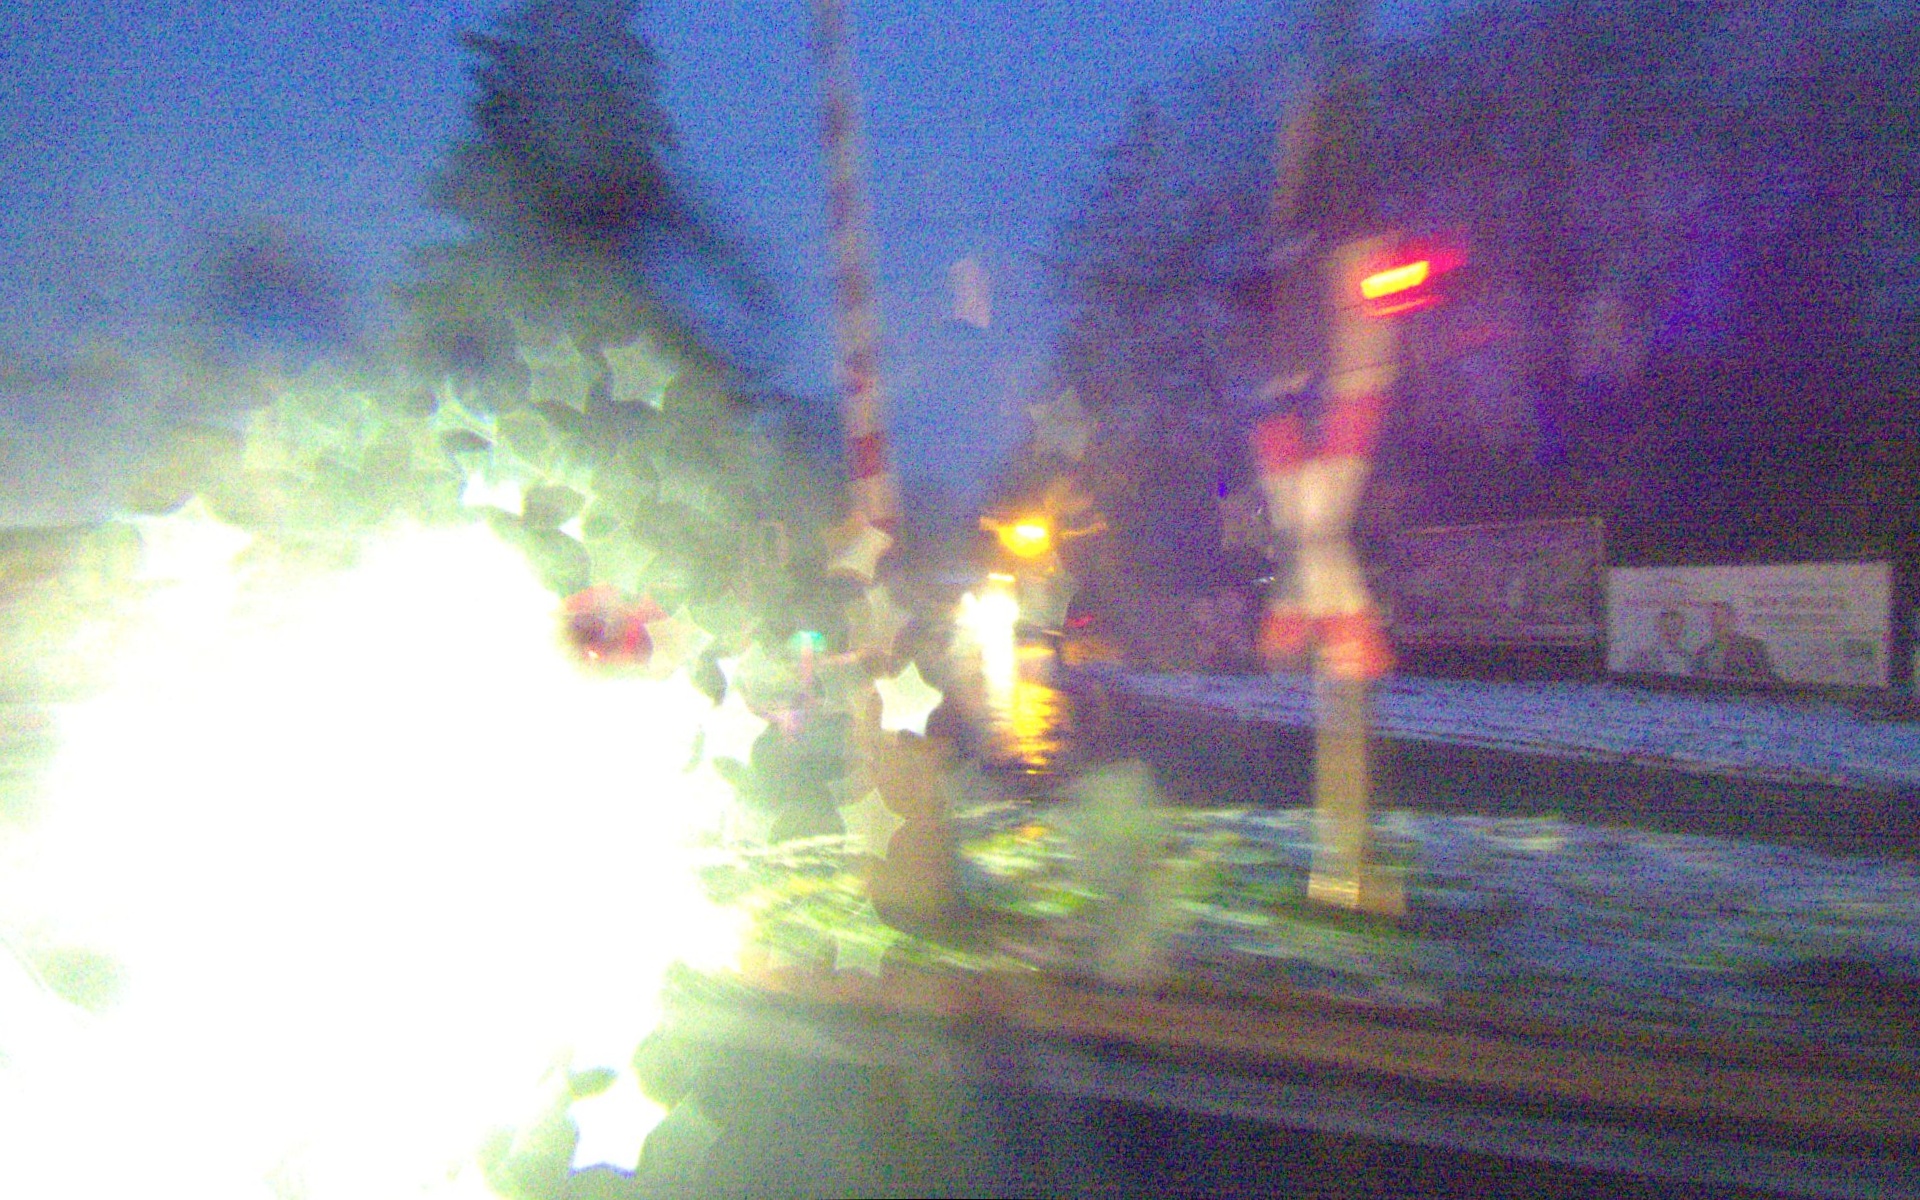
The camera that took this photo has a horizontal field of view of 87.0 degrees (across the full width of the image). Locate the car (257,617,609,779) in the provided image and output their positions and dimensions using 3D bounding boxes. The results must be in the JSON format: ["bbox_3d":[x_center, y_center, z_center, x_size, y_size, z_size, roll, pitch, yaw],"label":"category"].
[{"bbox_3d":[-6.412,1.093,12.973,1.872,1.701,4.329,-2,-1,7],"label":"car"}]

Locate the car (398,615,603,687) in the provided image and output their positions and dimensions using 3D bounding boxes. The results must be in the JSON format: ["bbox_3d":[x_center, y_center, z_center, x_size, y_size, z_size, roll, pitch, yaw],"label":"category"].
[{"bbox_3d":[-11.509,1.253,25.431,4.440,1.598,1.930,1,-2,15],"label":"car"}]
